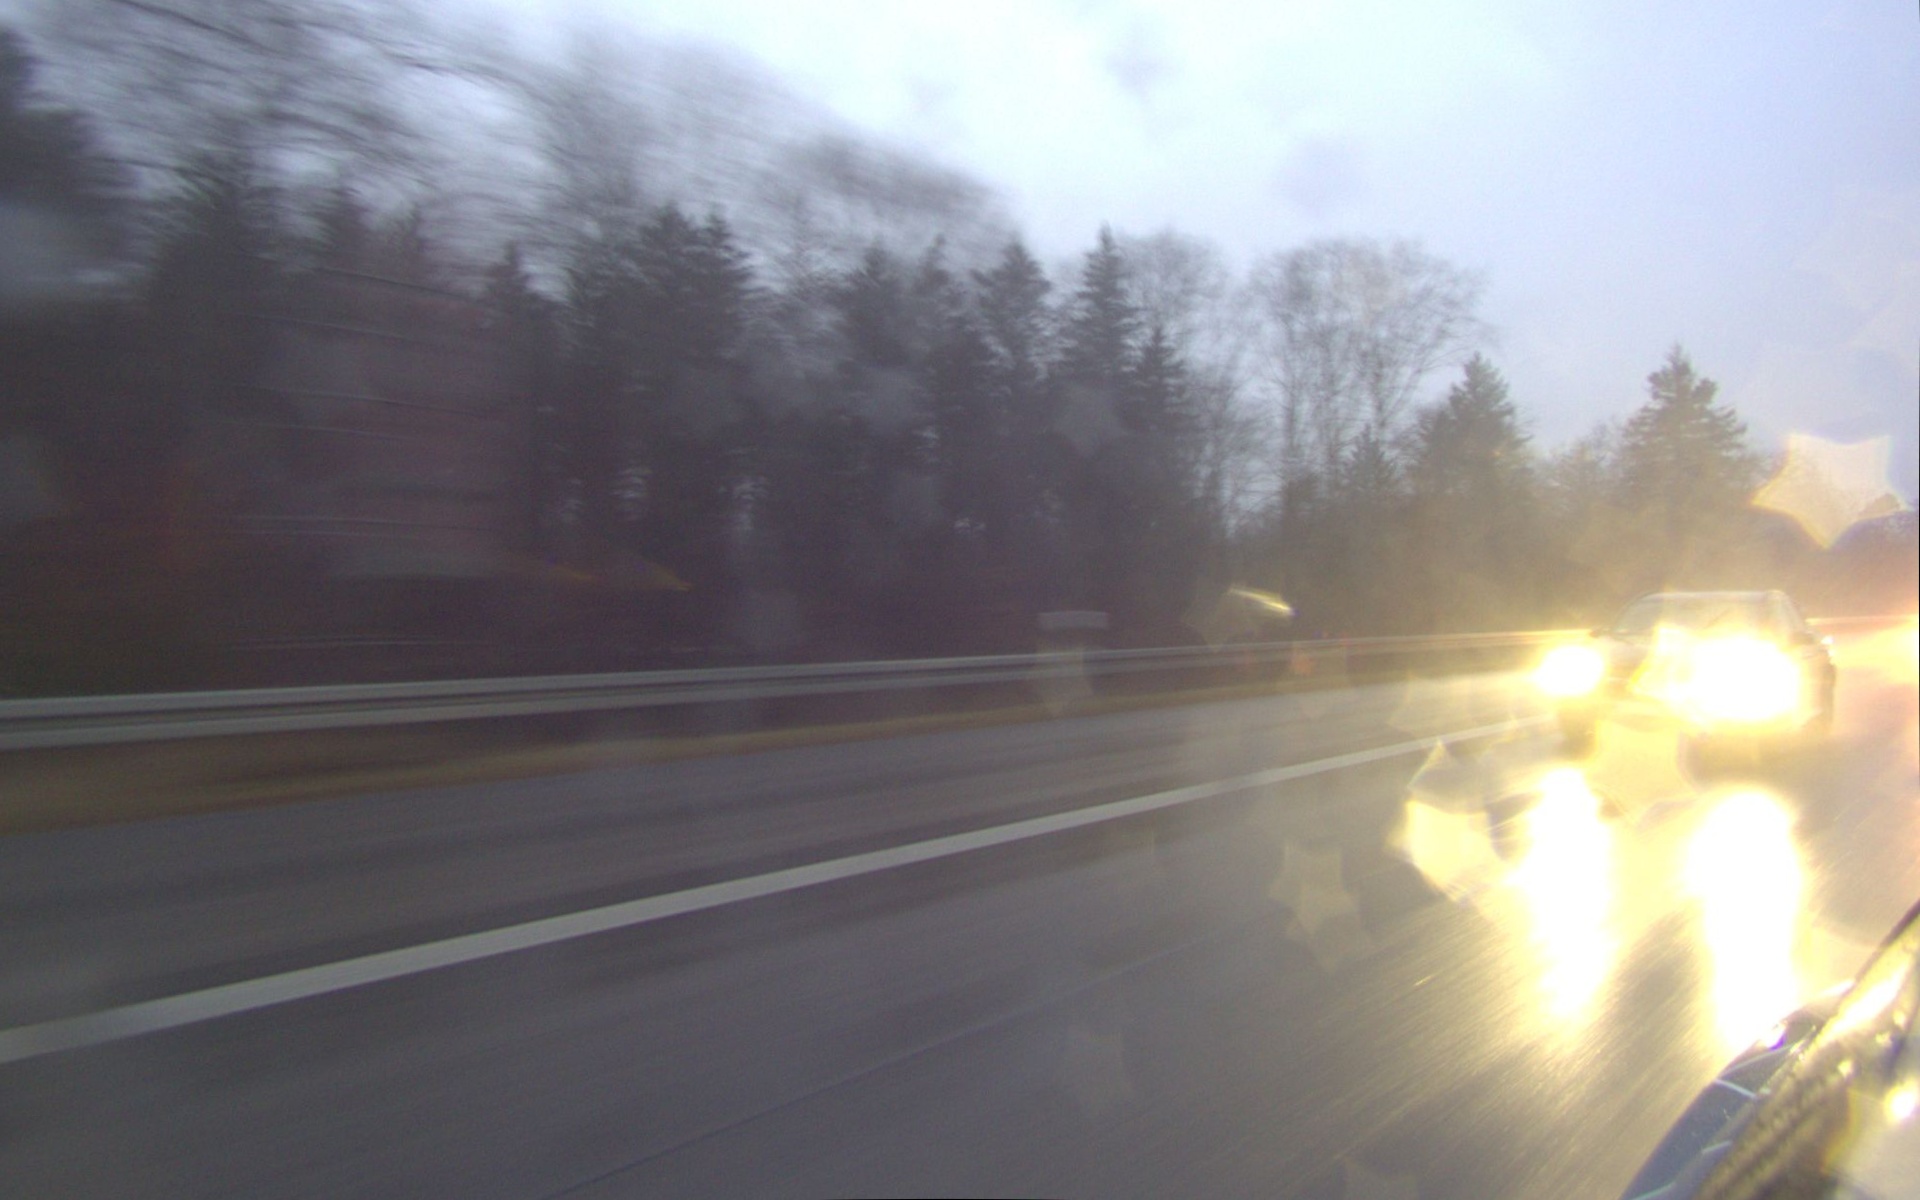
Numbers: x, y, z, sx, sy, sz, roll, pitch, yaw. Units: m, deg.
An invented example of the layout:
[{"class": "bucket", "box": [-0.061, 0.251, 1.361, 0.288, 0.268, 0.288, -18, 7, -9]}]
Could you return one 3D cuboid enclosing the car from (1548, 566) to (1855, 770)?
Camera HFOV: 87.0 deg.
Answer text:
[{"class": "car", "box": [8.157, 0.579, 11.017, 3.872, 1.814, 1.927, -1, 1, -41]}]
